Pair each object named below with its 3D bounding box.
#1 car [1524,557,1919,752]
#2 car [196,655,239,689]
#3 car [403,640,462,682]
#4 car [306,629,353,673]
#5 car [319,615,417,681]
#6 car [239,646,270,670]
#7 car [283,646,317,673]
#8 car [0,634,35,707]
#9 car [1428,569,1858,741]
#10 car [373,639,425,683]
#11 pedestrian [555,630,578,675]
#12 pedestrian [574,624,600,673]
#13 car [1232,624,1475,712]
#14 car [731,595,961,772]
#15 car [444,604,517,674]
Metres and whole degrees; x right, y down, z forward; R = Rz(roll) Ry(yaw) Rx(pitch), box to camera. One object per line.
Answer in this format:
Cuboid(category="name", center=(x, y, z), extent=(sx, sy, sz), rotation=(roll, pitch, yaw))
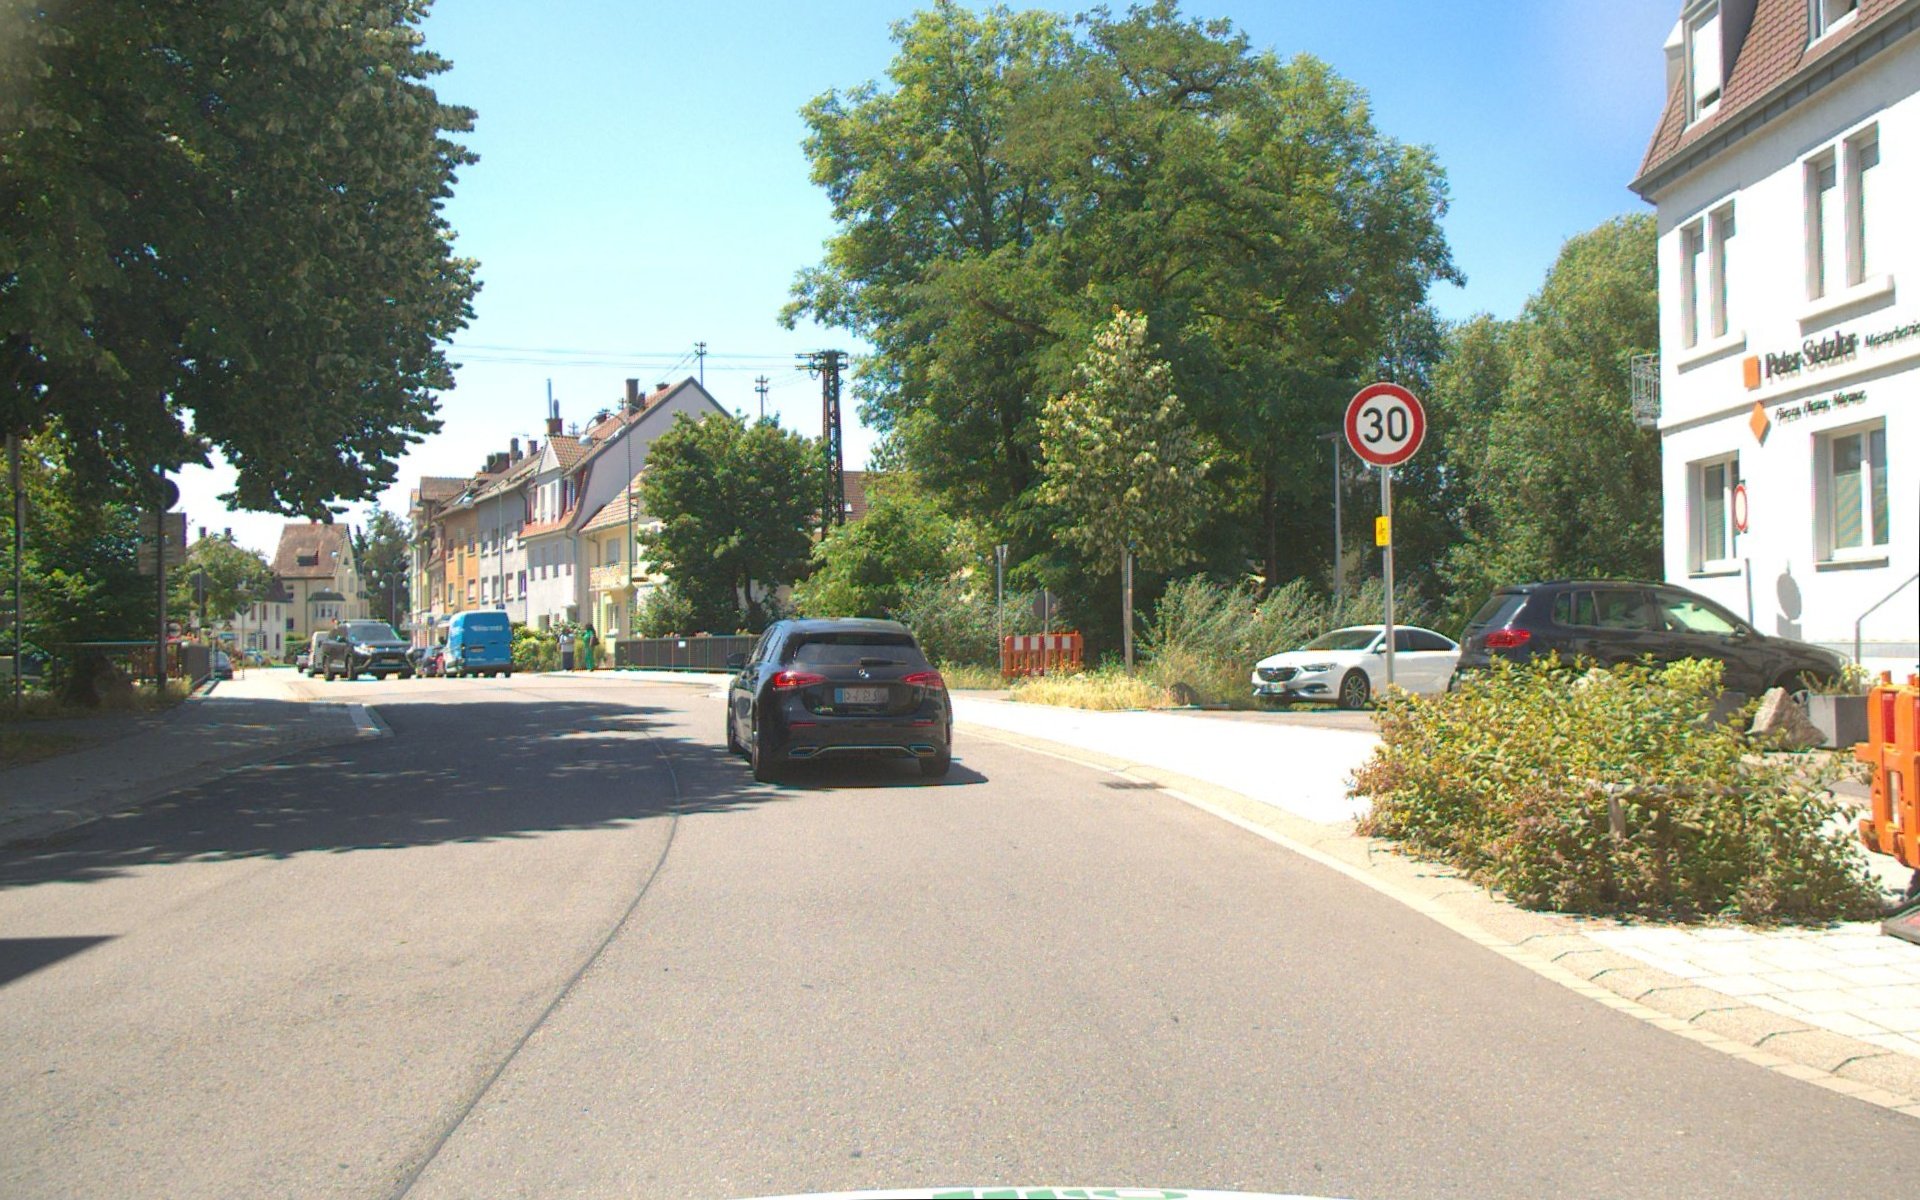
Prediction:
Cuboid(category="car", center=(7.807, 0.530, 16.126), extent=(3.992, 1.746, 1.855), rotation=(1, -2, -1))
Cuboid(category="car", center=(-39.259, 3.791, 87.466), extent=(1.968, 1.689, 3.968), rotation=(2, -3, -25))
Cuboid(category="car", center=(-23.656, 2.687, 74.030), extent=(1.969, 1.776, 4.293), rotation=(0, -1, -25))
Cuboid(category="car", center=(-36.218, 2.887, 94.956), extent=(2.216, 2.384, 4.814), rotation=(1, -1, -25))
Cuboid(category="car", center=(-17.607, 1.407, 49.048), extent=(1.726, 1.803, 4.286), rotation=(-2, 0, -34))
Cuboid(category="car", center=(-52.334, 4.295, 122.638), extent=(1.968, 1.689, 3.968), rotation=(2, -3, -25))
Cuboid(category="car", center=(-53.135, 4.803, 133.093), extent=(1.974, 2.049, 3.957), rotation=(0, -1, -31))
Cuboid(category="car", center=(-28.591, 2.066, 48.922), extent=(1.970, 2.049, 3.965), rotation=(0, -1, -27))
Cuboid(category="car", center=(7.427, 0.603, 18.265), extent=(3.992, 1.746, 1.855), rotation=(1, -2, -1))
Cuboid(category="car", center=(-27.514, 2.941, 81.059), extent=(1.969, 2.049, 3.967), rotation=(0, -1, -25))
Cuboid(category="pedestrian", center=(-14.523, 1.926, 61.009), extent=(0.607, 1.641, 0.829), rotation=(0, -2, -30))
Cuboid(category="pedestrian", center=(-13.614, 1.782, 60.403), extent=(0.657, 1.772, 0.691), rotation=(1, -2, -43))
Cuboid(category="car", center=(6.770, 1.148, 28.257), extent=(4.157, 1.374, 1.836), rotation=(2, -1, -37))
Cuboid(category="car", center=(-1.232, 0.822, 16.043), extent=(1.795, 1.467, 3.989), rotation=(-1, -3, -10))
Cuboid(category="car", center=(-18.437, 1.502, 63.461), extent=(2.105, 2.586, 4.613), rotation=(0, -2, -24))
